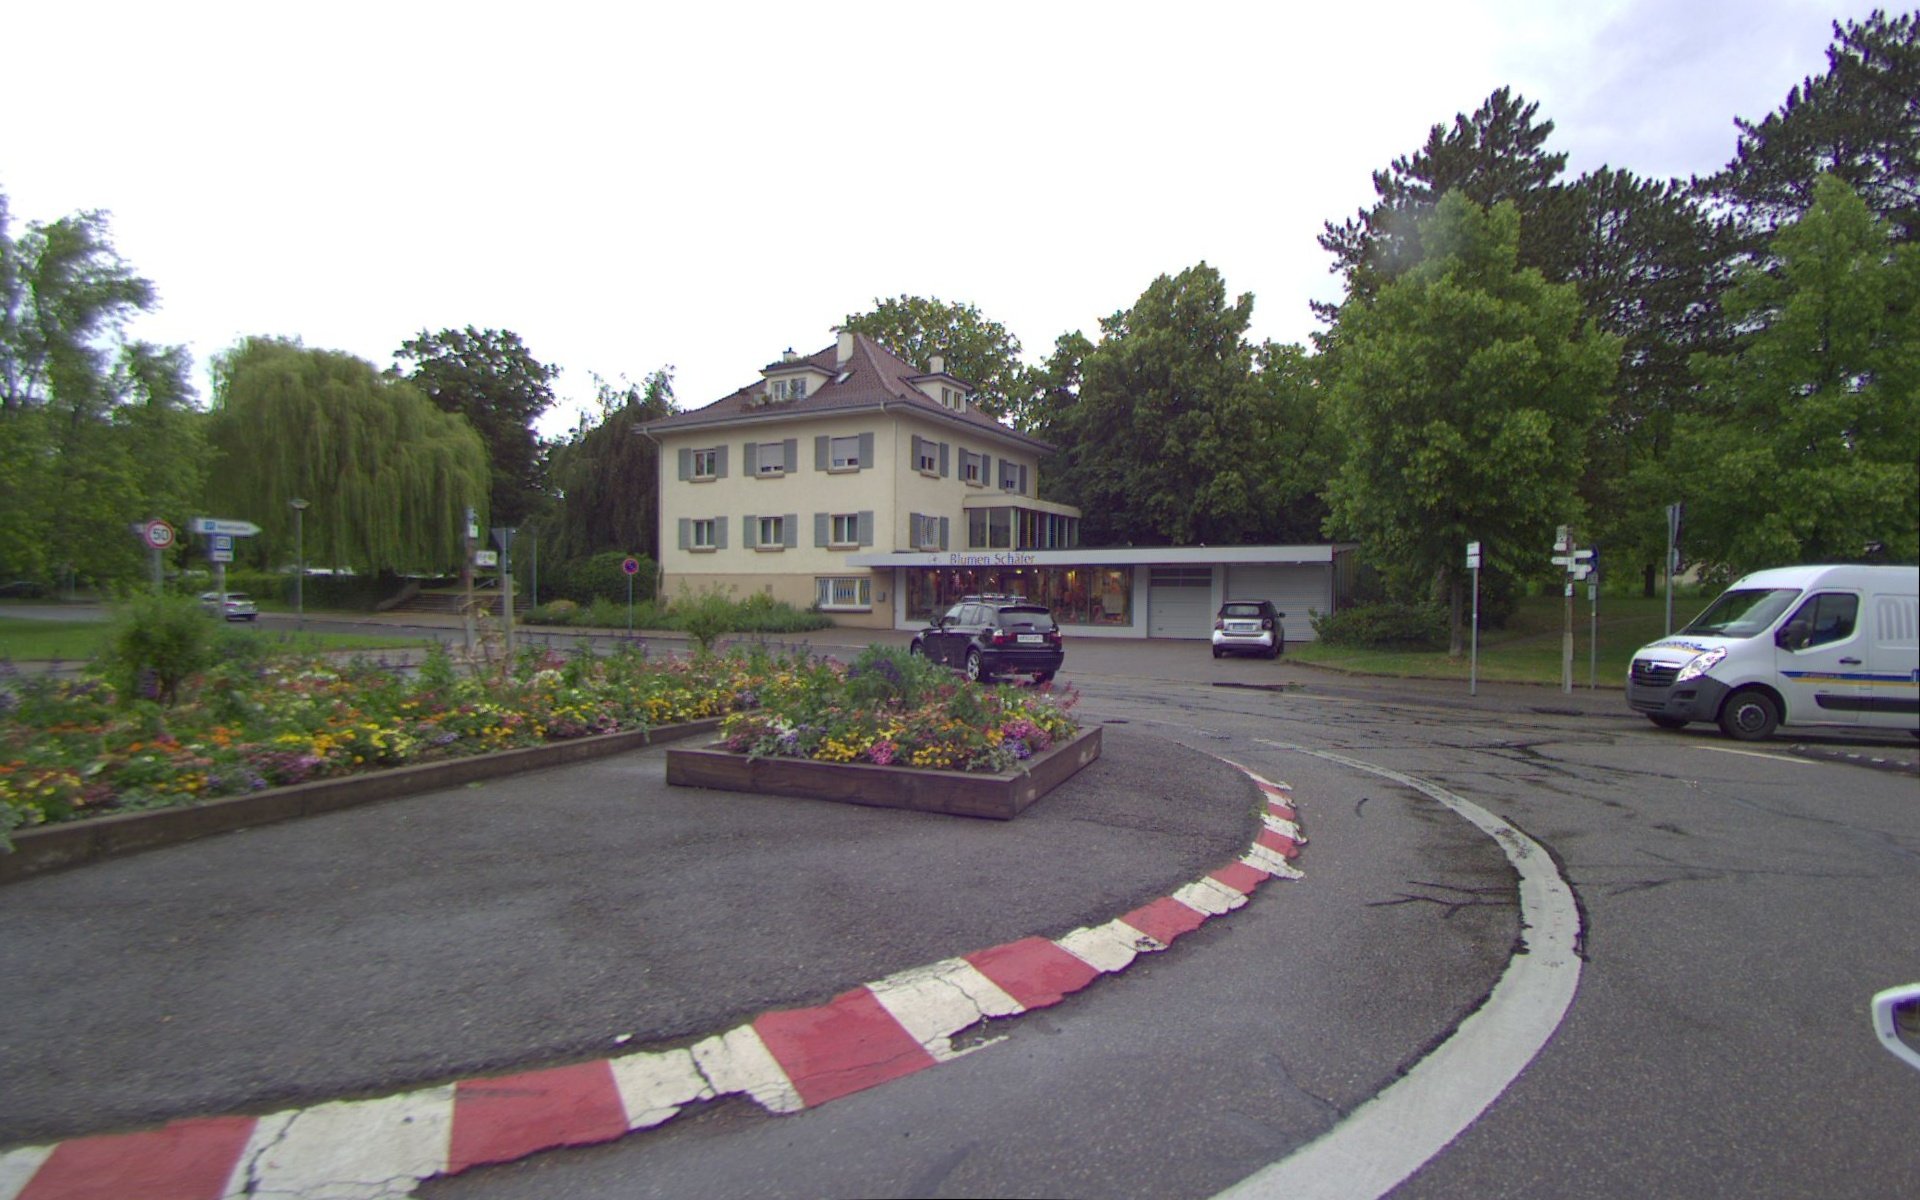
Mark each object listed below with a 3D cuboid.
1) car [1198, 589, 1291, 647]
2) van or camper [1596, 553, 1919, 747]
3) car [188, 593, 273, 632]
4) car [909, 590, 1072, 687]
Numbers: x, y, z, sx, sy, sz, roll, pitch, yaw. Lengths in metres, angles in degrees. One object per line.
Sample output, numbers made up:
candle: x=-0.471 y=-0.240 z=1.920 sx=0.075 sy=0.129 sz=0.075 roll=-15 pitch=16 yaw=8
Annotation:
car: x=8.072 y=0.488 z=28.304 sx=1.785 sy=1.506 sz=3.826 roll=0 pitch=-1 yaw=27
van or camper: x=12.582 y=0.714 z=14.210 sx=5.554 sy=2.409 sz=2.202 roll=3 pitch=0 yaw=7
car: x=-37.789 y=0.628 z=52.020 sx=4.068 sy=1.764 sz=1.997 roll=3 pitch=0 yaw=28
car: x=0.516 y=0.763 z=21.186 sx=1.746 sy=1.825 sz=4.220 roll=1 pitch=-1 yaw=-25
